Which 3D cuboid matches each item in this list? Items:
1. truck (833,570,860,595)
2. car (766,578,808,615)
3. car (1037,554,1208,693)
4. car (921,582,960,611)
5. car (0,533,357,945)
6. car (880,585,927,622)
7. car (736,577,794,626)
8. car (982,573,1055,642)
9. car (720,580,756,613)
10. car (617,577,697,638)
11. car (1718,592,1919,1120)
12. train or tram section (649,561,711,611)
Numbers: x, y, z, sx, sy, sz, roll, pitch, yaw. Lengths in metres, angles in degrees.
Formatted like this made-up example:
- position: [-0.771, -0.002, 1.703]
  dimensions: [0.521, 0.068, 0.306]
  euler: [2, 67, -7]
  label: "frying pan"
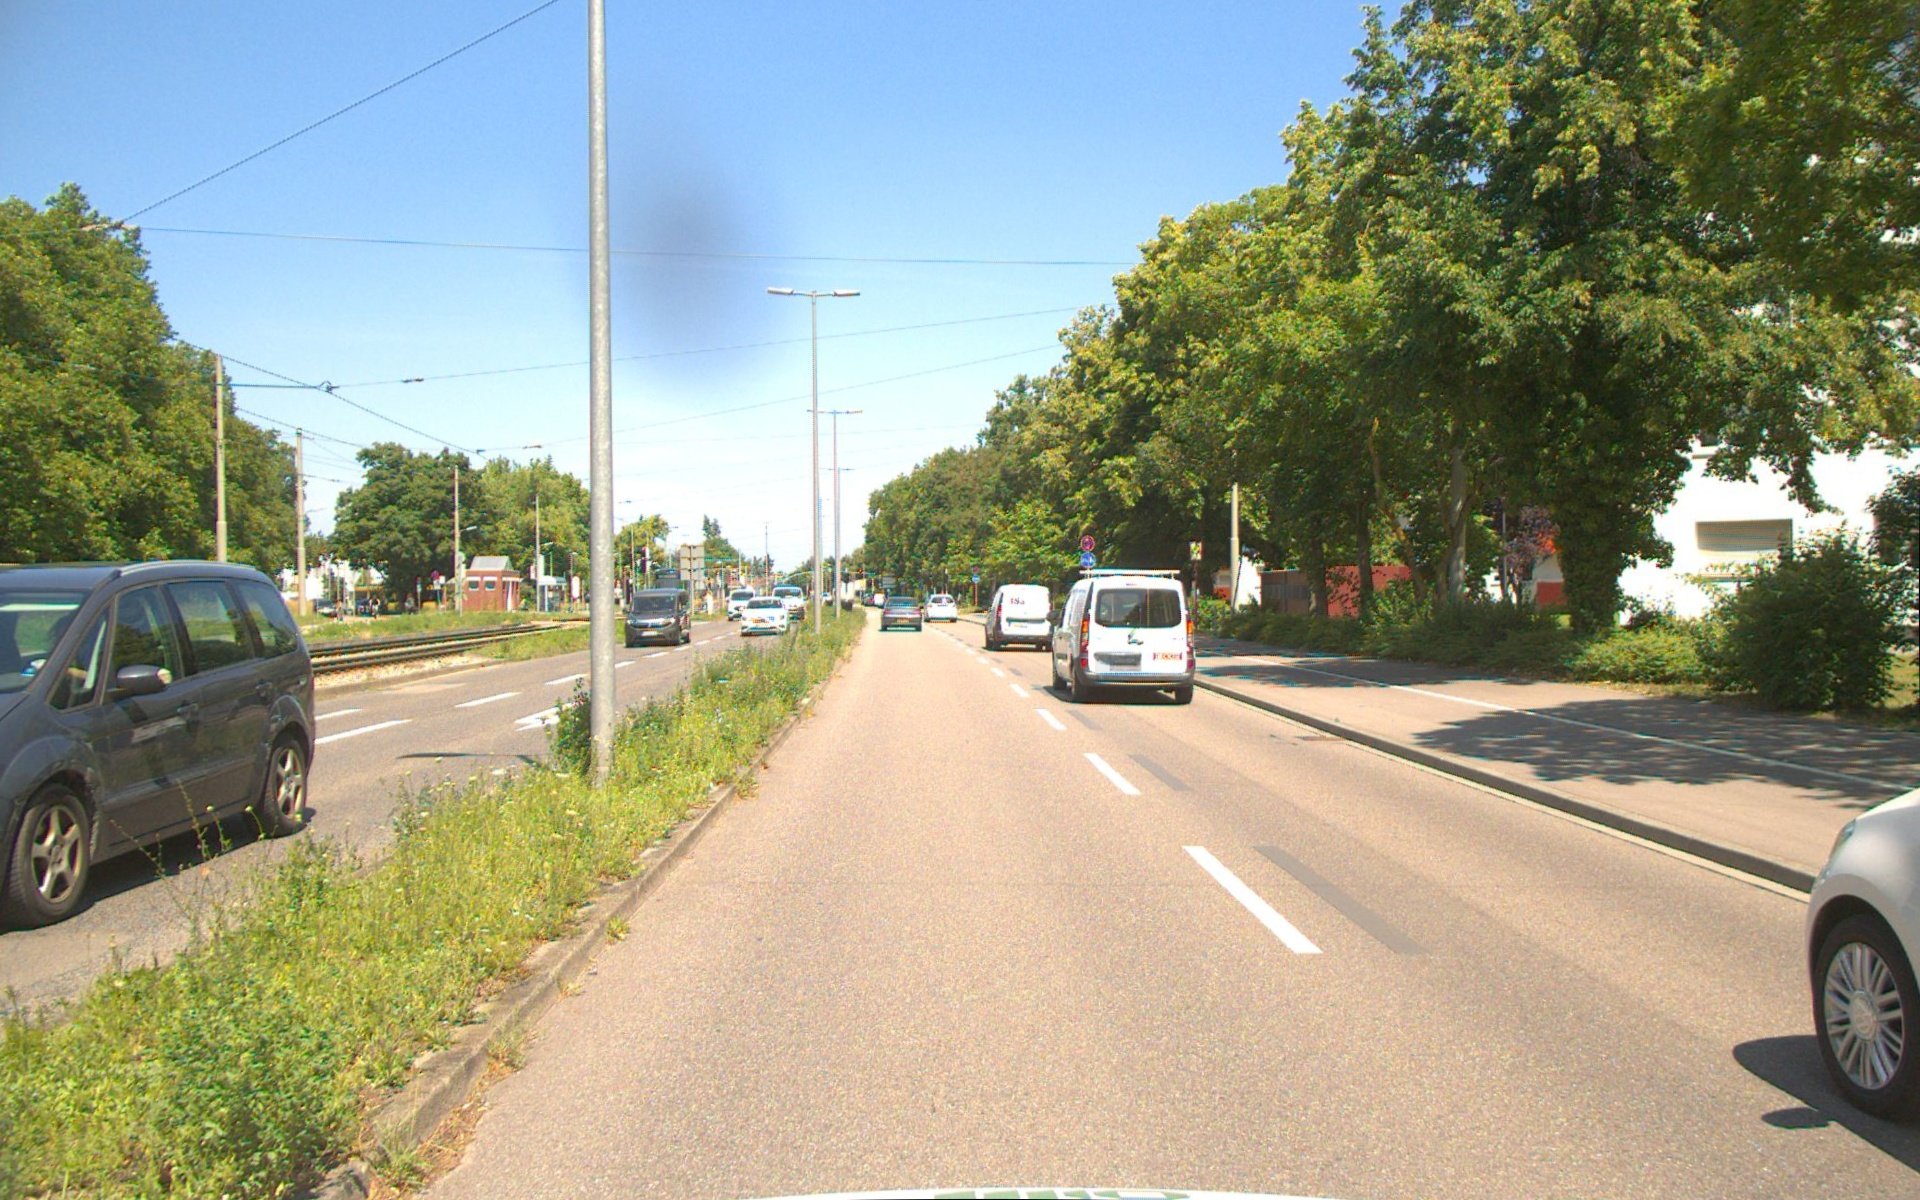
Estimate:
- position: [-17.840, -2.736, 259.869]
  dimensions: [3.824, 3.879, 10.779]
  euler: [-1, 1, -6]
  label: "truck"
- position: [-9.466, -0.208, 90.849]
  dimensions: [1.793, 1.939, 5.565]
  euler: [-2, 1, -2]
  label: "car"
- position: [2.348, 0.315, 25.089]
  dimensions: [1.788, 1.914, 4.451]
  euler: [1, 0, -5]
  label: "car"
- position: [-1.123, -0.192, 91.915]
  dimensions: [1.769, 1.567, 3.994]
  euler: [0, 0, -6]
  label: "car"
- position: [-5.037, 0.591, 9.049]
  dimensions: [1.792, 1.743, 4.792]
  euler: [-2, 1, -2]
  label: "car"
- position: [-2.392, 0.122, 69.074]
  dimensions: [1.766, 1.512, 3.996]
  euler: [0, 0, -5]
  label: "car"
- position: [-7.502, 0.038, 63.856]
  dimensions: [1.793, 1.769, 4.037]
  euler: [-2, 1, -2]
  label: "car"
- position: [1.605, 0.162, 46.588]
  dimensions: [1.693, 1.845, 3.998]
  euler: [1, 1, -3]
  label: "car"
- position: [-14.695, -0.228, 109.780]
  dimensions: [1.851, 2.052, 5.079]
  euler: [-3, 1, -3]
  label: "car"
- position: [-9.827, 0.204, 53.942]
  dimensions: [1.793, 1.832, 4.613]
  euler: [-2, 1, -2]
  label: "car"
- position: [3.516, 0.729, 3.899]
  dimensions: [1.625, 1.474, 3.854]
  euler: [1, 0, -1]
  label: "car"
- position: [-23.990, -1.174, 143.657]
  dimensions: [2.734, 3.732, 37.472]
  euler: [0, 0, -6]
  label: "train or tram section"
